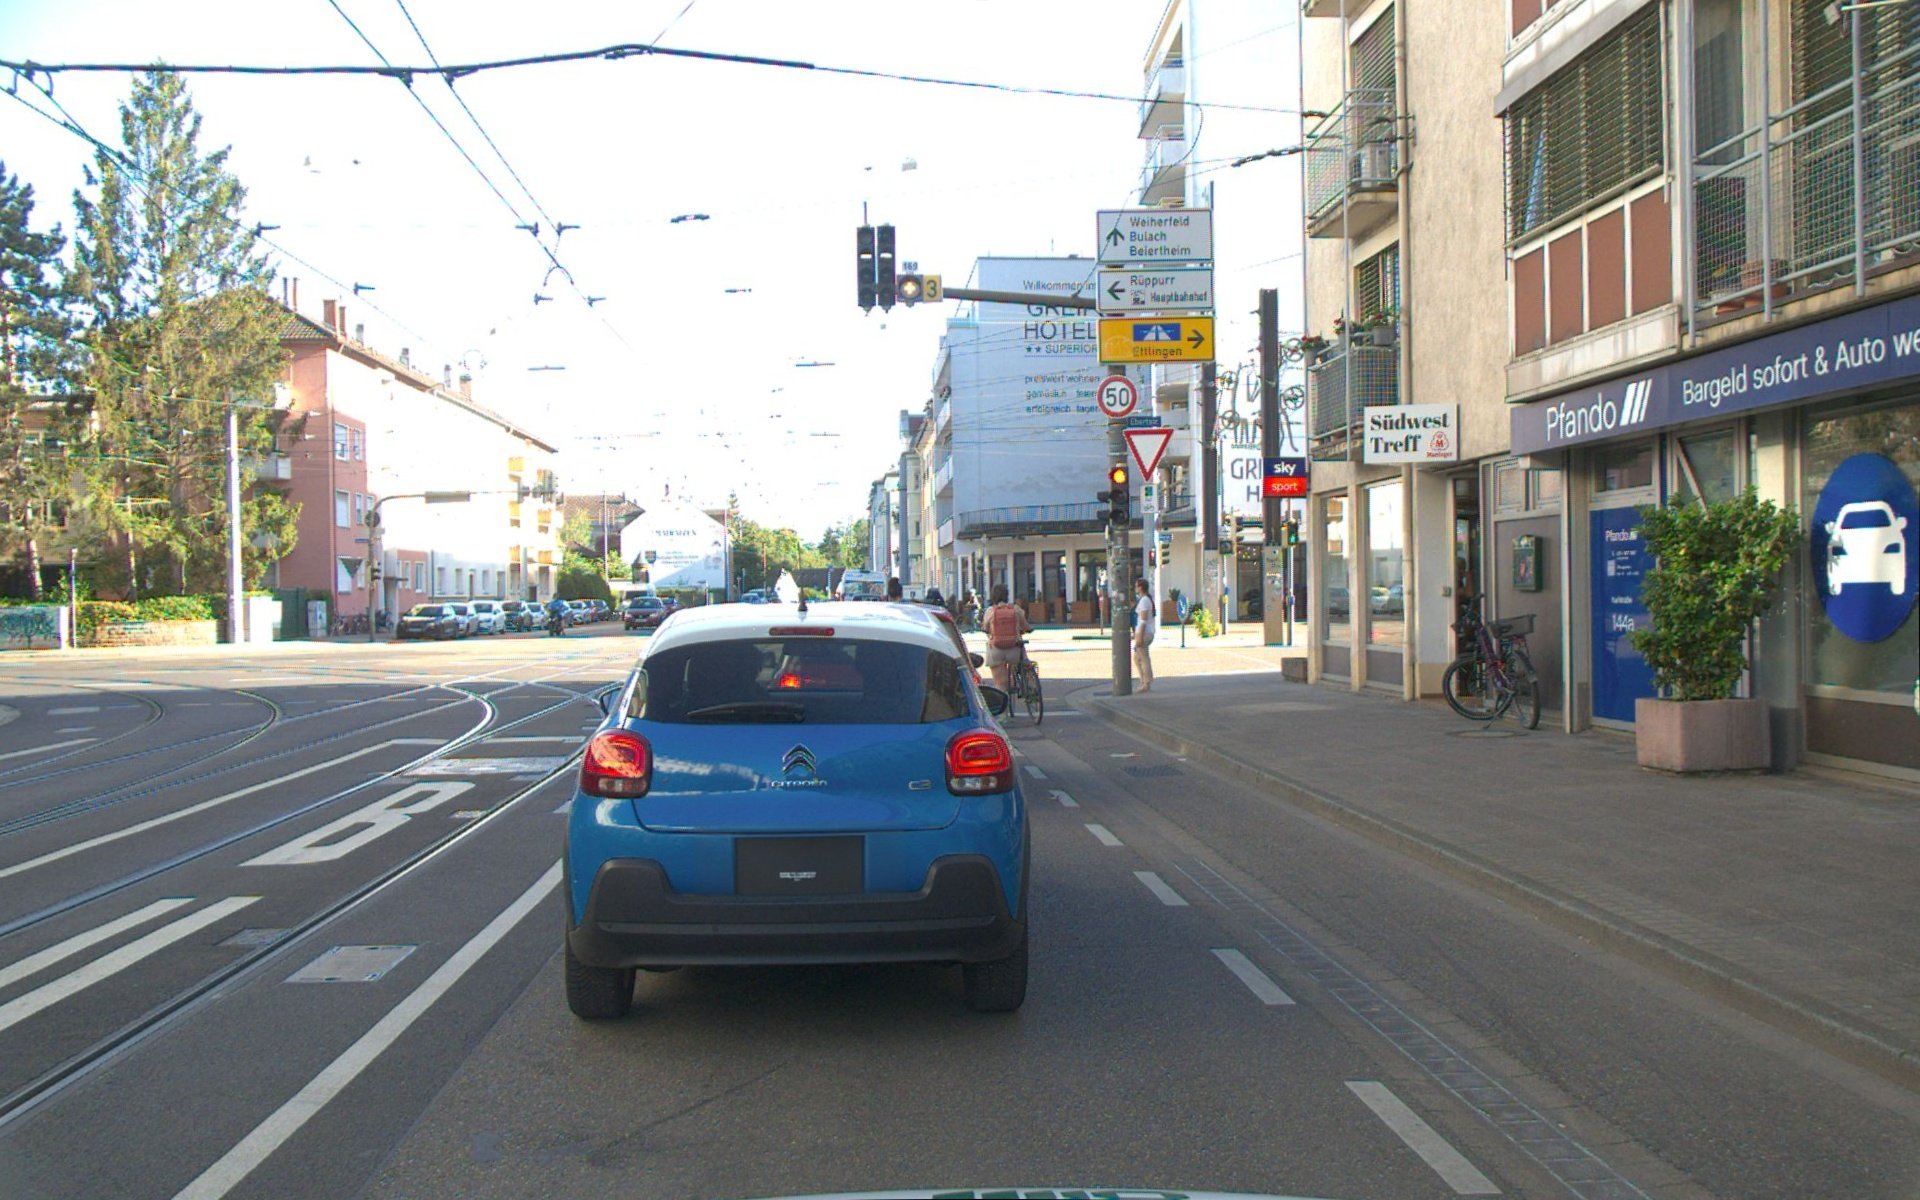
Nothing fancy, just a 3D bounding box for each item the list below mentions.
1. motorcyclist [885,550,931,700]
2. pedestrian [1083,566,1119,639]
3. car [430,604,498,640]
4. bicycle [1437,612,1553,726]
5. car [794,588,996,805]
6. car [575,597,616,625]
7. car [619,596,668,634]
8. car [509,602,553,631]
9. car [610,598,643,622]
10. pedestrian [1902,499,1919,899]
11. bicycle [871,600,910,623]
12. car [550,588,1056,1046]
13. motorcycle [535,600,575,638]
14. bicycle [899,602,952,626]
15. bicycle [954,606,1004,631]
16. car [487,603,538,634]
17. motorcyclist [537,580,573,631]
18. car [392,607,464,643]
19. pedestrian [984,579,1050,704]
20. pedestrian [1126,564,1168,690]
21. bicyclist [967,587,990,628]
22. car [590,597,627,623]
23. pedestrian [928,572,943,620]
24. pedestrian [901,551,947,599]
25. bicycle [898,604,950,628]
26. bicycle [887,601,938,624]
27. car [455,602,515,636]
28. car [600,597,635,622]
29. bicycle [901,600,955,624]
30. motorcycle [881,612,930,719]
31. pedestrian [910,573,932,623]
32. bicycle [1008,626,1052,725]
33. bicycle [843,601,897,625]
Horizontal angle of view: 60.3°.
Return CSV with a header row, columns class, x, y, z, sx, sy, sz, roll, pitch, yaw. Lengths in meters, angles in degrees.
class,x,y,z,sx,sy,sz,roll,pitch,yaw
motorcyclist,-0.611,0.292,19.602,0.516,1.746,0.717,1,-1,-1
pedestrian,4.001,0.071,46.913,0.907,2.049,0.759,1,-1,-1
car,-22.236,0.957,74.266,1.778,1.524,4.299,1,0,-1
bicycle,5.082,0.626,15.803,0.531,1.016,1.705,1,0,-1
car,-0.480,0.685,13.098,1.395,1.493,2.923,-1,0,-1
car,-23.371,0.693,106.109,1.944,1.716,3.997,1,0,-4
car,-14.540,0.686,76.185,1.740,1.695,3.853,1,0,-4
car,-23.730,0.913,91.559,1.699,1.524,3.996,1,0,-5
car,-24.342,0.702,120.910,1.809,1.716,3.871,1,0,-4
pedestrian,4.311,0.406,6.467,0.808,1.620,0.751,1,-1,-1
bicycle,-2.900,0.478,69.403,1.751,0.917,0.365,1,-1,34
car,-0.534,0.715,7.148,1.620,1.469,3.522,1,0,-1
motorcycle,-16.321,0.751,66.748,0.905,1.512,3.723,1,0,-4
bicycle,-1.396,0.569,67.107,2.093,0.917,0.366,1,-1,-10
bicycle,0.698,0.684,61.550,1.814,0.919,0.350,1,-1,19
car,-23.176,0.932,85.710,1.750,1.524,3.997,1,0,-4
motorcyclist,-16.370,0.217,66.850,1.162,2.049,1.274,-1,0,-4
car,-21.949,1.008,68.412,1.757,1.446,3.994,1,0,-2
pedestrian,0.692,0.501,20.239,0.761,1.486,0.681,1,-1,-1
pedestrian,2.747,0.397,24.295,0.507,1.814,0.595,1,-1,-3
bicyclist,0.694,0.264,61.624,0.730,1.503,0.563,1,-1,17
car,-23.532,0.675,110.848,1.845,1.716,3.997,1,0,-4
pedestrian,-1.042,-0.167,70.229,0.565,2.049,0.625,1,-1,-3
pedestrian,-1.602,-1.084,73.520,1.953,2.049,3.999,1,0,-1
bicycle,-1.459,0.647,67.497,2.093,0.917,0.366,1,-1,-10
bicycle,-1.965,0.502,68.294,2.093,0.917,0.366,1,-1,-10
car,-22.606,0.880,78.851,1.751,1.537,4.148,1,0,-2
car,-24.052,0.643,116.268,1.797,1.716,3.997,1,0,-4
bicycle,-1.277,0.478,65.845,2.093,0.917,0.366,1,-1,-10
motorcycle,-0.619,0.734,19.412,0.515,1.159,2.289,1,0,-1
pedestrian,-1.623,-0.086,69.104,0.625,2.049,0.715,1,-1,-37
bicycle,0.855,0.909,20.553,0.419,1.142,1.998,1,0,-1
bicycle,-3.606,0.527,66.190,2.093,0.917,0.366,1,-1,-10
